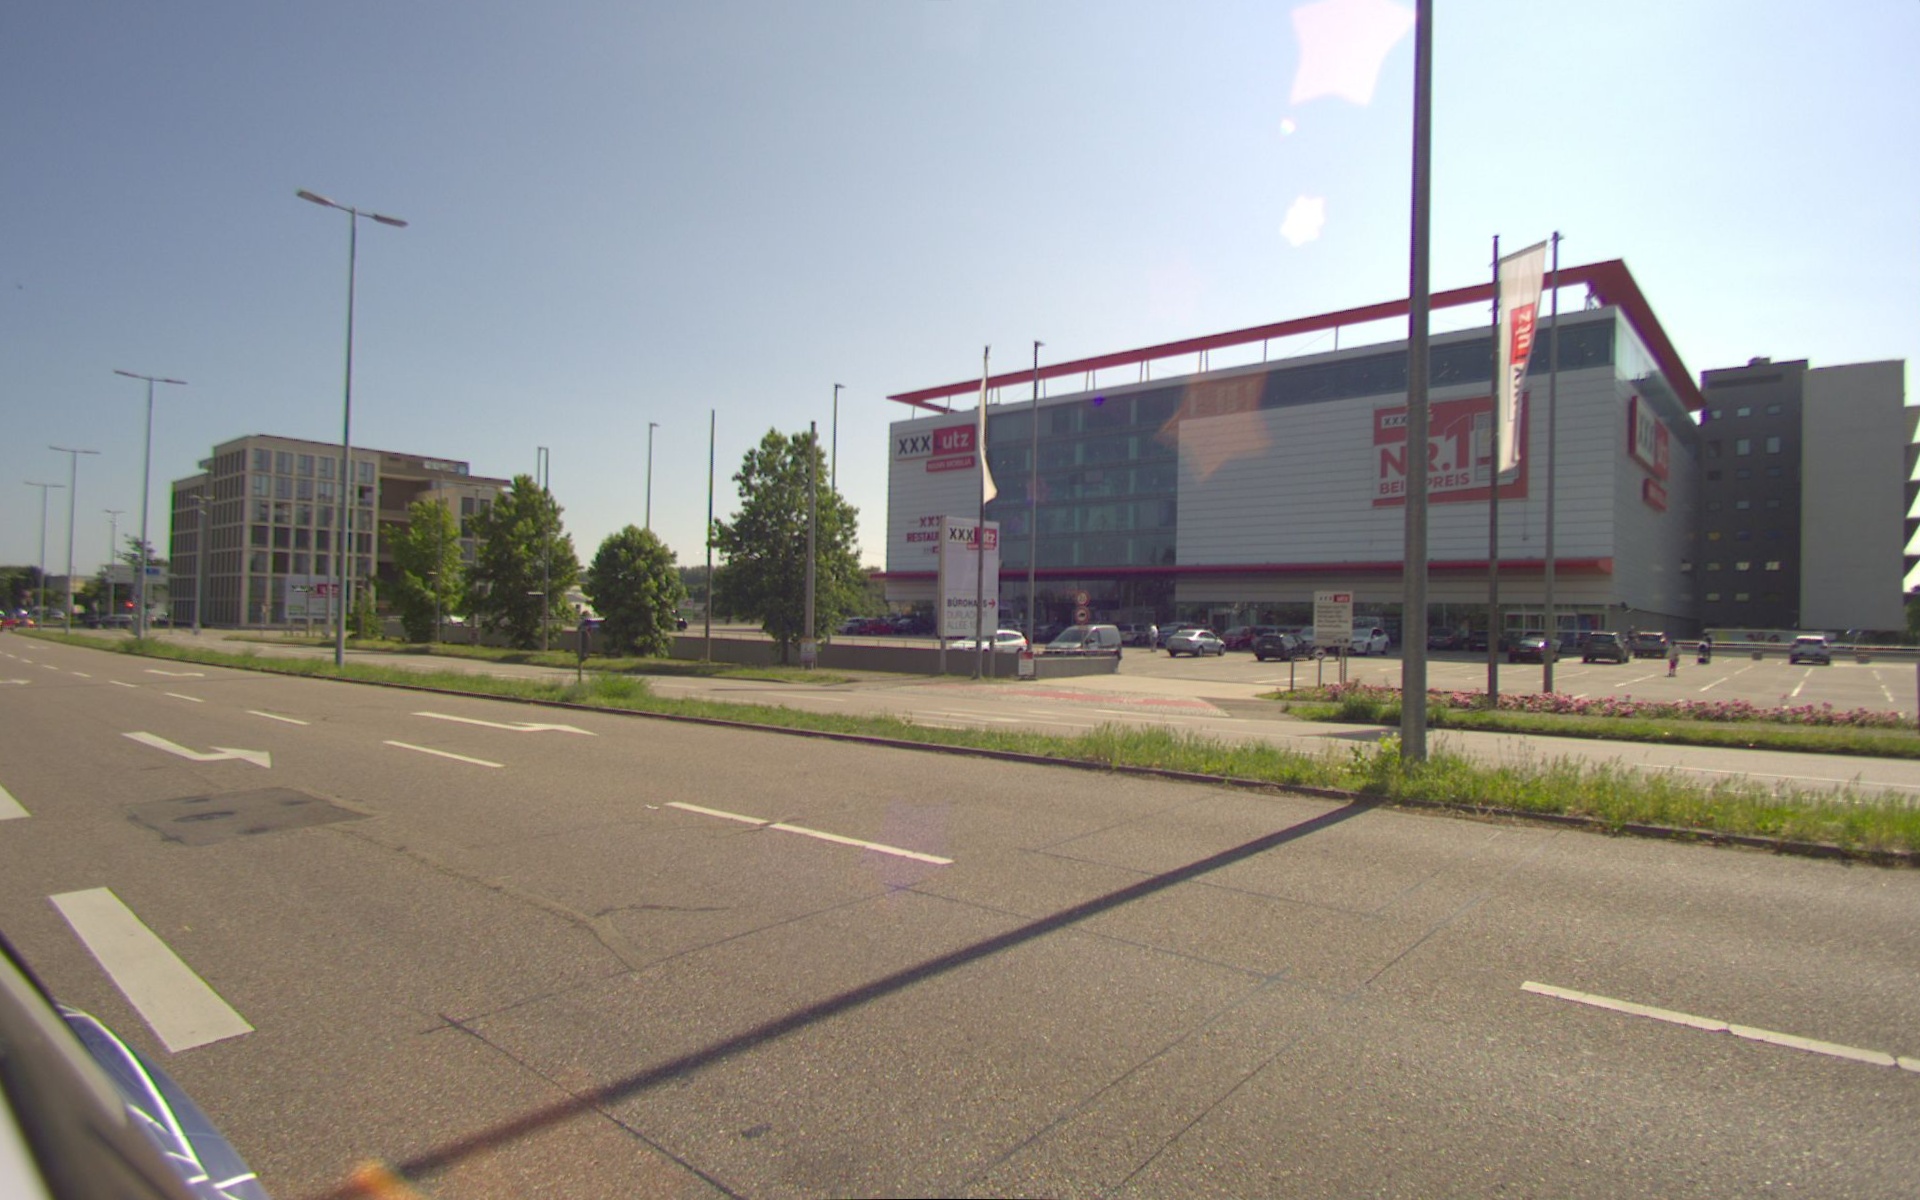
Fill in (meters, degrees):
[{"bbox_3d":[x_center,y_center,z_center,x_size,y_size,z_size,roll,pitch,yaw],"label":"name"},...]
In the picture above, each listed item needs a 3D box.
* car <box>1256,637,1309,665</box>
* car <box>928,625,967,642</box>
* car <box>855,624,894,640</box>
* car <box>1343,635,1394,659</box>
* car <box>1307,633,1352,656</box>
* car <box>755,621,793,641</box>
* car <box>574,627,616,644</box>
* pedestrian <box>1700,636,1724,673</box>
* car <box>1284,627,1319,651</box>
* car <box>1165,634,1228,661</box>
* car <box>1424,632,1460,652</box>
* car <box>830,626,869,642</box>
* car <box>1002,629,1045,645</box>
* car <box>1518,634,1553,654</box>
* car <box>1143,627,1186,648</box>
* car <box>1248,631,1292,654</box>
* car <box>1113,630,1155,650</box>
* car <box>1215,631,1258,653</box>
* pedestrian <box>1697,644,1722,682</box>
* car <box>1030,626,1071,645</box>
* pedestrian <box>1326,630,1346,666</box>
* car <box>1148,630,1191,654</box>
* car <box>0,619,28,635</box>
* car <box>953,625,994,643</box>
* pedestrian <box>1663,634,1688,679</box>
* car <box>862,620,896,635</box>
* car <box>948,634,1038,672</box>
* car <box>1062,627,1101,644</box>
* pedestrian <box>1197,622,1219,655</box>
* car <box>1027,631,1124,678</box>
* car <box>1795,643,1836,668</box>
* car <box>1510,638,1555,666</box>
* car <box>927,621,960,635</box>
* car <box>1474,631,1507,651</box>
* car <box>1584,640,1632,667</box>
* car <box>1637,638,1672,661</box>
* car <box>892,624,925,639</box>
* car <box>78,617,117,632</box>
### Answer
[{"bbox_3d":[16.492,2.583,51.652,1.515,1.340,3.056,1,-1,40],"label":"car"},{"bbox_3d":[-1.010,2.745,82.161,1.515,1.340,3.056,1,-1,40],"label":"car"},{"bbox_3d":[-7.458,2.804,88.244,1.515,1.340,3.181,1,-1,40],"label":"car"},{"bbox_3d":[24.203,2.743,59.881,1.515,1.340,4.256,1,-1,40],"label":"car"},{"bbox_3d":[22.221,2.652,60.818,1.587,1.340,3.371,-1,-3,38],"label":"car"},{"bbox_3d":[-17.642,2.944,96.060,1.691,1.771,3.056,1,-1,40],"label":"car"},{"bbox_3d":[-24.821,2.403,68.917,1.070,1.067,2.488,1,-1,39],"label":"car"},{"bbox_3d":[41.789,3.032,56.229,0.975,2.029,0.936,-2,-4,42],"label":"pedestrian"},{"bbox_3d":[22.623,2.591,67.054,1.298,1.570,3.206,-1,-3,37],"label":"car"},{"bbox_3d":[13.030,2.583,55.567,1.515,1.340,4.442,1,-1,40],"label":"car"},{"bbox_3d":[33.926,2.940,71.179,1.515,1.340,3.056,1,-1,40],"label":"car"},{"bbox_3d":[-9.778,3.010,89.589,1.515,1.340,3.181,1,-1,40],"label":"car"},{"bbox_3d":[4.825,2.819,76.992,1.480,1.208,3.463,1,-1,40],"label":"car"},{"bbox_3d":[37.674,2.856,66.248,1.441,1.234,3.056,1,-1,40],"label":"car"},{"bbox_3d":[13.807,2.550,68.194,1.515,1.340,3.056,1,-1,40],"label":"car"},{"bbox_3d":[19.400,2.625,63.248,1.515,1.340,3.056,1,-1,40],"label":"car"},{"bbox_3d":[12.090,2.745,70.052,1.515,1.340,3.056,1,-1,40],"label":"car"},{"bbox_3d":[17.945,2.703,65.672,1.515,1.340,3.056,1,-1,40],"label":"car"},{"bbox_3d":[40.989,3.432,55.335,0.975,2.029,0.936,-2,-4,42],"label":"pedestrian"},{"bbox_3d":[6.661,2.590,74.440,1.515,1.340,3.056,1,-1,40],"label":"car"},{"bbox_3d":[19.754,2.508,53.144,0.751,1.872,0.844,-1,-4,41],"label":"pedestrian"},{"bbox_3d":[12.689,2.535,61.196,1.314,1.340,2.837,1,-1,40],"label":"car"},{"bbox_3d":[-96.502,2.724,101.633,1.529,1.539,4.065,-1,-2,39],"label":"car"},{"bbox_3d":[1.076,2.702,79.947,1.703,1.340,3.056,1,-1,40],"label":"car"},{"bbox_3d":[30.992,2.433,43.843,0.770,1.909,0.500,2,-3,-18],"label":"pedestrian"},{"bbox_3d":[-7.720,2.659,96.558,1.515,1.395,3.056,1,-1,40],"label":"car"},{"bbox_3d":[1.578,2.414,46.637,1.869,1.640,4.368,-1,-2,39],"label":"car"},{"bbox_3d":[9.447,2.751,78.606,1.605,1.237,3.056,1,-1,40],"label":"car"},{"bbox_3d":[15.524,2.401,63.383,0.849,2.029,1.024,3,-3,-34],"label":"pedestrian"},{"bbox_3d":[4.921,2.274,42.826,1.944,1.856,4.366,0,-2,41],"label":"car"},{"bbox_3d":[48.574,3.128,57.493,1.751,1.340,3.624,1,-1,40],"label":"car"},{"bbox_3d":[30.007,2.692,53.034,1.515,1.340,3.056,1,-1,40],"label":"car"},{"bbox_3d":[-1.618,2.724,99.426,1.515,1.340,3.056,1,-1,40],"label":"car"},{"bbox_3d":[35.892,2.744,68.451,1.365,1.276,3.056,0,-2,40],"label":"car"},{"bbox_3d":[34.951,2.867,54.593,1.778,1.340,3.056,1,-1,40],"label":"car"},{"bbox_3d":[43.139,3.043,62.835,1.515,1.340,3.056,1,-1,40],"label":"car"},{"bbox_3d":[-4.666,2.879,91.677,1.218,1.340,3.056,1,-1,40],"label":"car"},{"bbox_3d":[-125.174,3.574,146.959,3.931,2.029,2.006,2,-2,-28],"label":"car"}]
